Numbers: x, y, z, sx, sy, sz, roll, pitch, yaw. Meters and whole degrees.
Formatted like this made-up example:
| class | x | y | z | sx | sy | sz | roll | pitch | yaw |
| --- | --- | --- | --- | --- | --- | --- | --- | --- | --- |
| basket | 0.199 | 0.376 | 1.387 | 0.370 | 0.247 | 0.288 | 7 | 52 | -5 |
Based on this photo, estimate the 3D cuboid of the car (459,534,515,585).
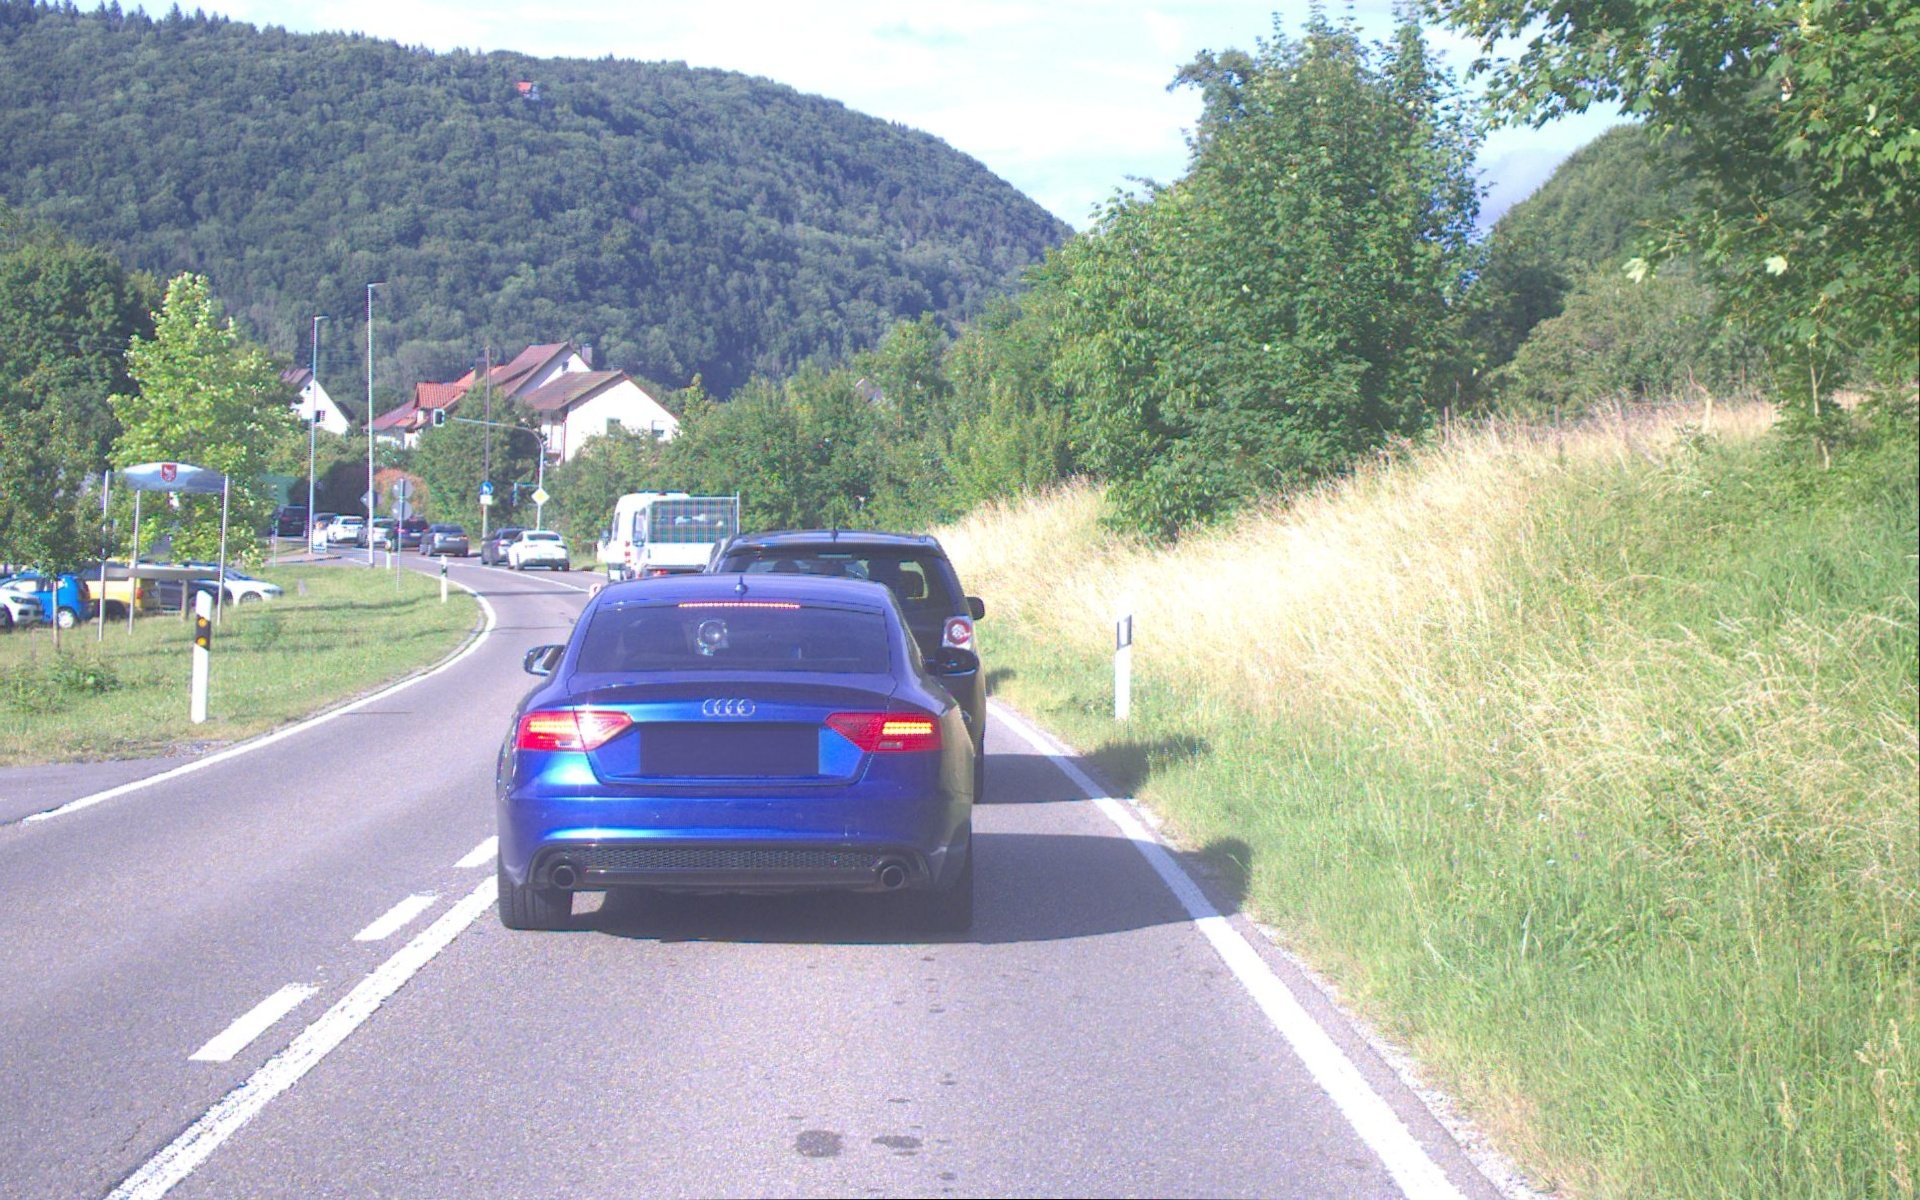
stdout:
| class | x | y | z | sx | sy | sz | roll | pitch | yaw |
| --- | --- | --- | --- | --- | --- | --- | --- | --- | --- |
| car | -18.296 | -1.564 | 132.903 | 1.659 | 1.918 | 4.001 | -1 | 1 | -15 |

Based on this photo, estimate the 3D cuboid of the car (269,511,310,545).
| class | x | y | z | sx | sy | sz | roll | pitch | yaw |
| --- | --- | --- | --- | --- | --- | --- | --- | --- | --- |
| car | -38.404 | -4.127 | 196.889 | 1.676 | 1.918 | 4.001 | -1 | 1 | -20 |

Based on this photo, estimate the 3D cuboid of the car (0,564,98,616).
| class | x | y | z | sx | sy | sz | roll | pitch | yaw |
| --- | --- | --- | --- | --- | --- | --- | --- | --- | --- |
| car | -25.402 | -0.277 | 93.849 | 3.369 | 1.369 | 1.660 | -1 | 1 | -3 |

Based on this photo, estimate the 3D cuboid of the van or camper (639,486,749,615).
| class | x | y | z | sx | sy | sz | roll | pitch | yaw |
| --- | --- | --- | --- | --- | --- | --- | --- | --- | --- |
| van or camper | -5.461 | -1.010 | 70.000 | 2.051 | 2.497 | 5.812 | -1 | 1 | -6 |

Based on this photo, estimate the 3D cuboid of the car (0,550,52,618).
| class | x | y | z | sx | sy | sz | roll | pitch | yaw |
| --- | --- | --- | --- | --- | --- | --- | --- | --- | --- |
| car | -25.460 | -0.410 | 87.788 | 4.077 | 1.667 | 1.597 | 0 | 3 | 5 |

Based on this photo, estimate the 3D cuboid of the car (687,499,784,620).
| class | x | y | z | sx | sy | sz | roll | pitch | yaw |
| --- | --- | --- | --- | --- | --- | --- | --- | --- | --- |
| car | -3.921 | -0.721 | 59.550 | 1.567 | 2.007 | 4.001 | -1 | 1 | -5 |

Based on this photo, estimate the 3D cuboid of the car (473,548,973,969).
| class | x | y | z | sx | sy | sz | roll | pitch | yaw |
| --- | --- | --- | --- | --- | --- | --- | --- | --- | --- |
| car | -0.844 | 0.538 | 13.994 | 1.742 | 1.445 | 3.517 | 2 | 1 | 0 |

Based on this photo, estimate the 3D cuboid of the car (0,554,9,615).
| class | x | y | z | sx | sy | sz | roll | pitch | yaw |
| --- | --- | --- | --- | --- | --- | --- | --- | --- | --- |
| car | -25.457 | -0.374 | 84.573 | 3.666 | 1.489 | 1.596 | 0 | 0 | 5 |

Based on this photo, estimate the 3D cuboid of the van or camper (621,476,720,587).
| class | x | y | z | sx | sy | sz | roll | pitch | yaw |
| --- | --- | --- | --- | --- | --- | --- | --- | --- | --- |
| van or camper | -7.419 | -1.739 | 87.652 | 2.280 | 2.704 | 5.768 | -1 | 1 | -7 |

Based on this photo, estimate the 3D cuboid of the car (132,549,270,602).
| class | x | y | z | sx | sy | sz | roll | pitch | yaw |
| --- | --- | --- | --- | --- | --- | --- | --- | --- | --- |
| car | -24.518 | -0.788 | 111.120 | 4.036 | 1.655 | 1.655 | -1 | 1 | 5 |

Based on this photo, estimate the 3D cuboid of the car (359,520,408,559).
| class | x | y | z | sx | sy | sz | roll | pitch | yaw |
| --- | --- | --- | --- | --- | --- | --- | --- | --- | --- |
| car | -28.873 | -3.029 | 172.171 | 1.676 | 1.918 | 4.001 | -1 | 1 | -20 |

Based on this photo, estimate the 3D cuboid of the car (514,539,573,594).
| class | x | y | z | sx | sy | sz | roll | pitch | yaw |
| --- | --- | --- | --- | --- | --- | --- | --- | --- | --- |
| car | -14.836 | -1.212 | 122.391 | 1.659 | 1.918 | 4.001 | -1 | 1 | -13 |

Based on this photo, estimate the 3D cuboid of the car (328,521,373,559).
| class | x | y | z | sx | sy | sz | roll | pitch | yaw |
| --- | --- | --- | --- | --- | --- | --- | --- | --- | --- |
| car | -32.070 | -3.147 | 180.831 | 1.676 | 1.918 | 4.001 | -1 | 1 | -20 |

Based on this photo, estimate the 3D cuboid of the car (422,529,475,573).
| class | x | y | z | sx | sy | sz | roll | pitch | yaw |
| --- | --- | --- | --- | --- | --- | --- | --- | --- | --- |
| car | -22.642 | -2.167 | 152.169 | 1.659 | 1.918 | 4.001 | -1 | 1 | -18 |

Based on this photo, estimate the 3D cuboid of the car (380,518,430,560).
| class | x | y | z | sx | sy | sz | roll | pitch | yaw |
| --- | --- | --- | --- | --- | --- | --- | --- | --- | --- |
| car | -26.396 | -2.890 | 163.387 | 1.676 | 1.918 | 4.001 | -1 | 1 | -19 |

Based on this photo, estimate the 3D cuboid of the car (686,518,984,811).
| class | x | y | z | sx | sy | sz | roll | pitch | yaw |
| --- | --- | --- | --- | --- | --- | --- | --- | --- | --- |
| car | -0.797 | 0.338 | 21.220 | 1.645 | 1.619 | 3.517 | 2 | 1 | -3 |

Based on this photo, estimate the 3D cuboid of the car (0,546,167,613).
| class | x | y | z | sx | sy | sz | roll | pitch | yaw |
| --- | --- | --- | --- | --- | --- | --- | --- | --- | --- |
| car | -24.783 | -0.574 | 96.497 | 4.554 | 1.808 | 1.841 | -1 | 1 | 5 |
